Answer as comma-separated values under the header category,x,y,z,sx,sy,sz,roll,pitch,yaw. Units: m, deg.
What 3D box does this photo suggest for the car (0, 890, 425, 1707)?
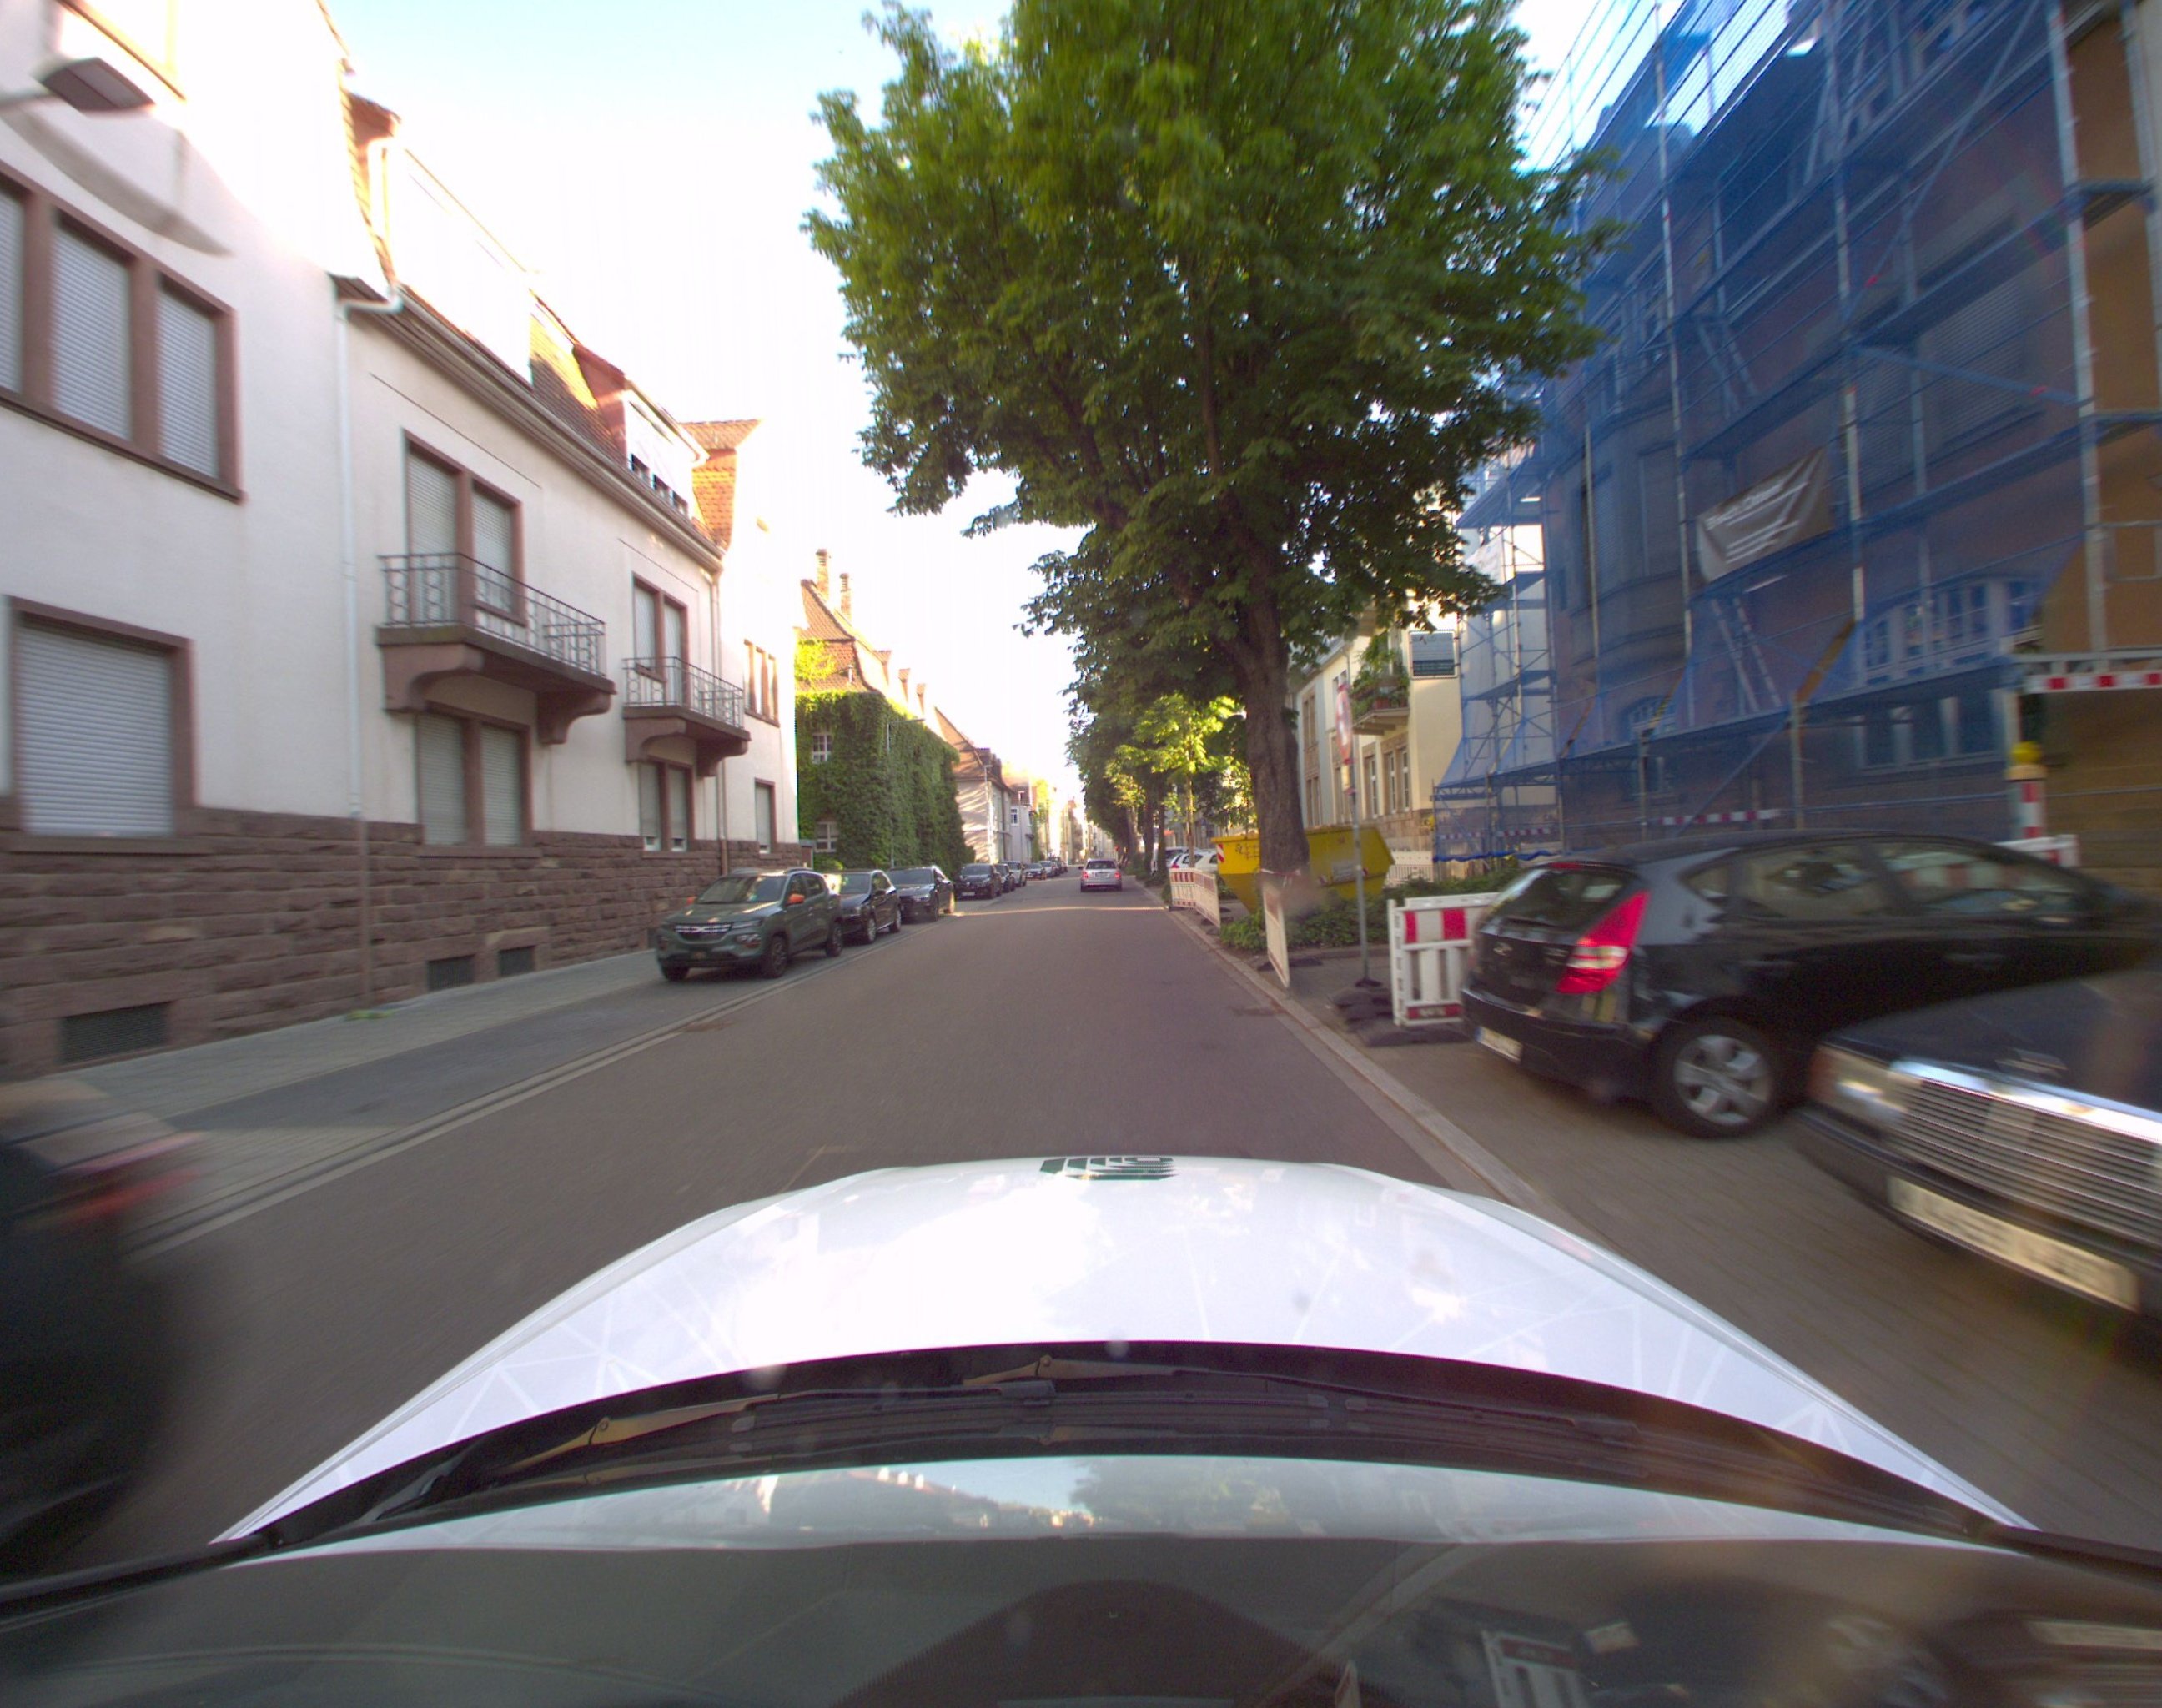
category,x,y,z,sx,sy,sz,roll,pitch,yaw
car,-2.817,0.878,0.307,1.766,1.448,4.001,-3,0,1

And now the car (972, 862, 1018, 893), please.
category,x,y,z,sx,sy,sz,roll,pitch,yaw
car,-4.117,1.114,39.467,1.680,1.379,3.722,-1,0,2

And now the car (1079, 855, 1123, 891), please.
category,x,y,z,sx,sy,sz,roll,pitch,yaw
car,0.895,0.808,35.653,1.777,1.437,3.852,-2,-1,2

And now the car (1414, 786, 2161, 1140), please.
category,x,y,z,sx,sy,sz,roll,pitch,yaw
car,4.367,0.500,4.829,3.971,1.492,1.852,-4,0,2

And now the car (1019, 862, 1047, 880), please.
category,x,y,z,sx,sy,sz,roll,pitch,yaw
car,-3.700,1.310,63.675,1.646,1.324,4.049,-1,-1,4

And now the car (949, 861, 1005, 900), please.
category,x,y,z,sx,sy,sz,roll,pitch,yaw
car,-4.214,1.048,33.629,1.643,1.421,4.100,-1,0,2

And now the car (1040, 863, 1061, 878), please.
category,x,y,z,sx,sy,sz,roll,pitch,yaw
car,-2.888,1.527,77.603,1.524,1.319,4.231,-2,-1,4

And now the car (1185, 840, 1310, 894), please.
category,x,y,z,sx,sy,sz,roll,pitch,yaw
car,5.417,0.417,26.888,3.832,1.462,1.689,-4,0,6

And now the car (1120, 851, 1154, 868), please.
category,x,y,z,sx,sy,sz,roll,pitch,yaw
car,7.319,0.681,106.713,4.207,1.896,1.905,-4,-1,-1

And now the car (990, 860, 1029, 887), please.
category,x,y,z,sx,sy,sz,roll,pitch,yaw
car,-4.022,1.074,46.292,1.697,1.460,3.920,-1,0,3

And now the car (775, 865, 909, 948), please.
category,x,y,z,sx,sy,sz,roll,pitch,yaw
car,-4.779,0.988,16.849,1.649,1.447,3.842,-1,0,-1

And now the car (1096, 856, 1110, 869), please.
category,x,y,z,sx,sy,sz,roll,pitch,yaw
car,2.711,1.016,98.761,1.617,1.570,3.682,-2,0,2

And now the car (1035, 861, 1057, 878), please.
category,x,y,z,sx,sy,sz,roll,pitch,yaw
car,-3.099,1.340,72.631,1.647,1.445,3.962,-1,0,2

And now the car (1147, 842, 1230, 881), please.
category,x,y,z,sx,sy,sz,roll,pitch,yaw
car,5.974,0.420,45.546,4.299,1.807,2.000,-4,0,1

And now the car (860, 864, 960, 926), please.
category,x,y,z,sx,sy,sz,roll,pitch,yaw
car,-4.590,1.037,22.551,1.787,1.461,4.775,-1,0,-1

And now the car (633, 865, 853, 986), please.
category,x,y,z,sx,sy,sz,roll,pitch,yaw
car,-4.897,0.947,12.410,1.647,1.486,3.766,-1,0,2

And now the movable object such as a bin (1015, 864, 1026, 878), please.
category,x,y,z,sx,sy,sz,roll,pitch,yaw
movable object such as a bin,-5.777,1.594,77.806,0.719,1.283,2.097,-2,0,2

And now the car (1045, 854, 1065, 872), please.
category,x,y,z,sx,sy,sz,roll,pitch,yaw
car,-2.833,0.962,89.095,1.975,1.947,4.851,-1,0,1

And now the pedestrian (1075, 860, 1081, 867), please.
category,x,y,z,sx,sy,sz,roll,pitch,yaw
pedestrian,-0.642,2.187,190.137,1.215,1.721,1.505,-2,-1,4

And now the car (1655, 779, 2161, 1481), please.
category,x,y,z,sx,sy,sz,roll,pitch,yaw
car,4.681,0.437,2.311,4.701,1.535,1.851,-4,0,1

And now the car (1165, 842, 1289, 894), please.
category,x,y,z,sx,sy,sz,roll,pitch,yaw
car,5.196,0.491,29.396,4.127,1.534,1.688,-4,0,3

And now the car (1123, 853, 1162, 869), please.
category,x,y,z,sx,sy,sz,roll,pitch,yaw
car,6.819,0.798,90.117,4.172,1.475,1.853,-5,-1,3
